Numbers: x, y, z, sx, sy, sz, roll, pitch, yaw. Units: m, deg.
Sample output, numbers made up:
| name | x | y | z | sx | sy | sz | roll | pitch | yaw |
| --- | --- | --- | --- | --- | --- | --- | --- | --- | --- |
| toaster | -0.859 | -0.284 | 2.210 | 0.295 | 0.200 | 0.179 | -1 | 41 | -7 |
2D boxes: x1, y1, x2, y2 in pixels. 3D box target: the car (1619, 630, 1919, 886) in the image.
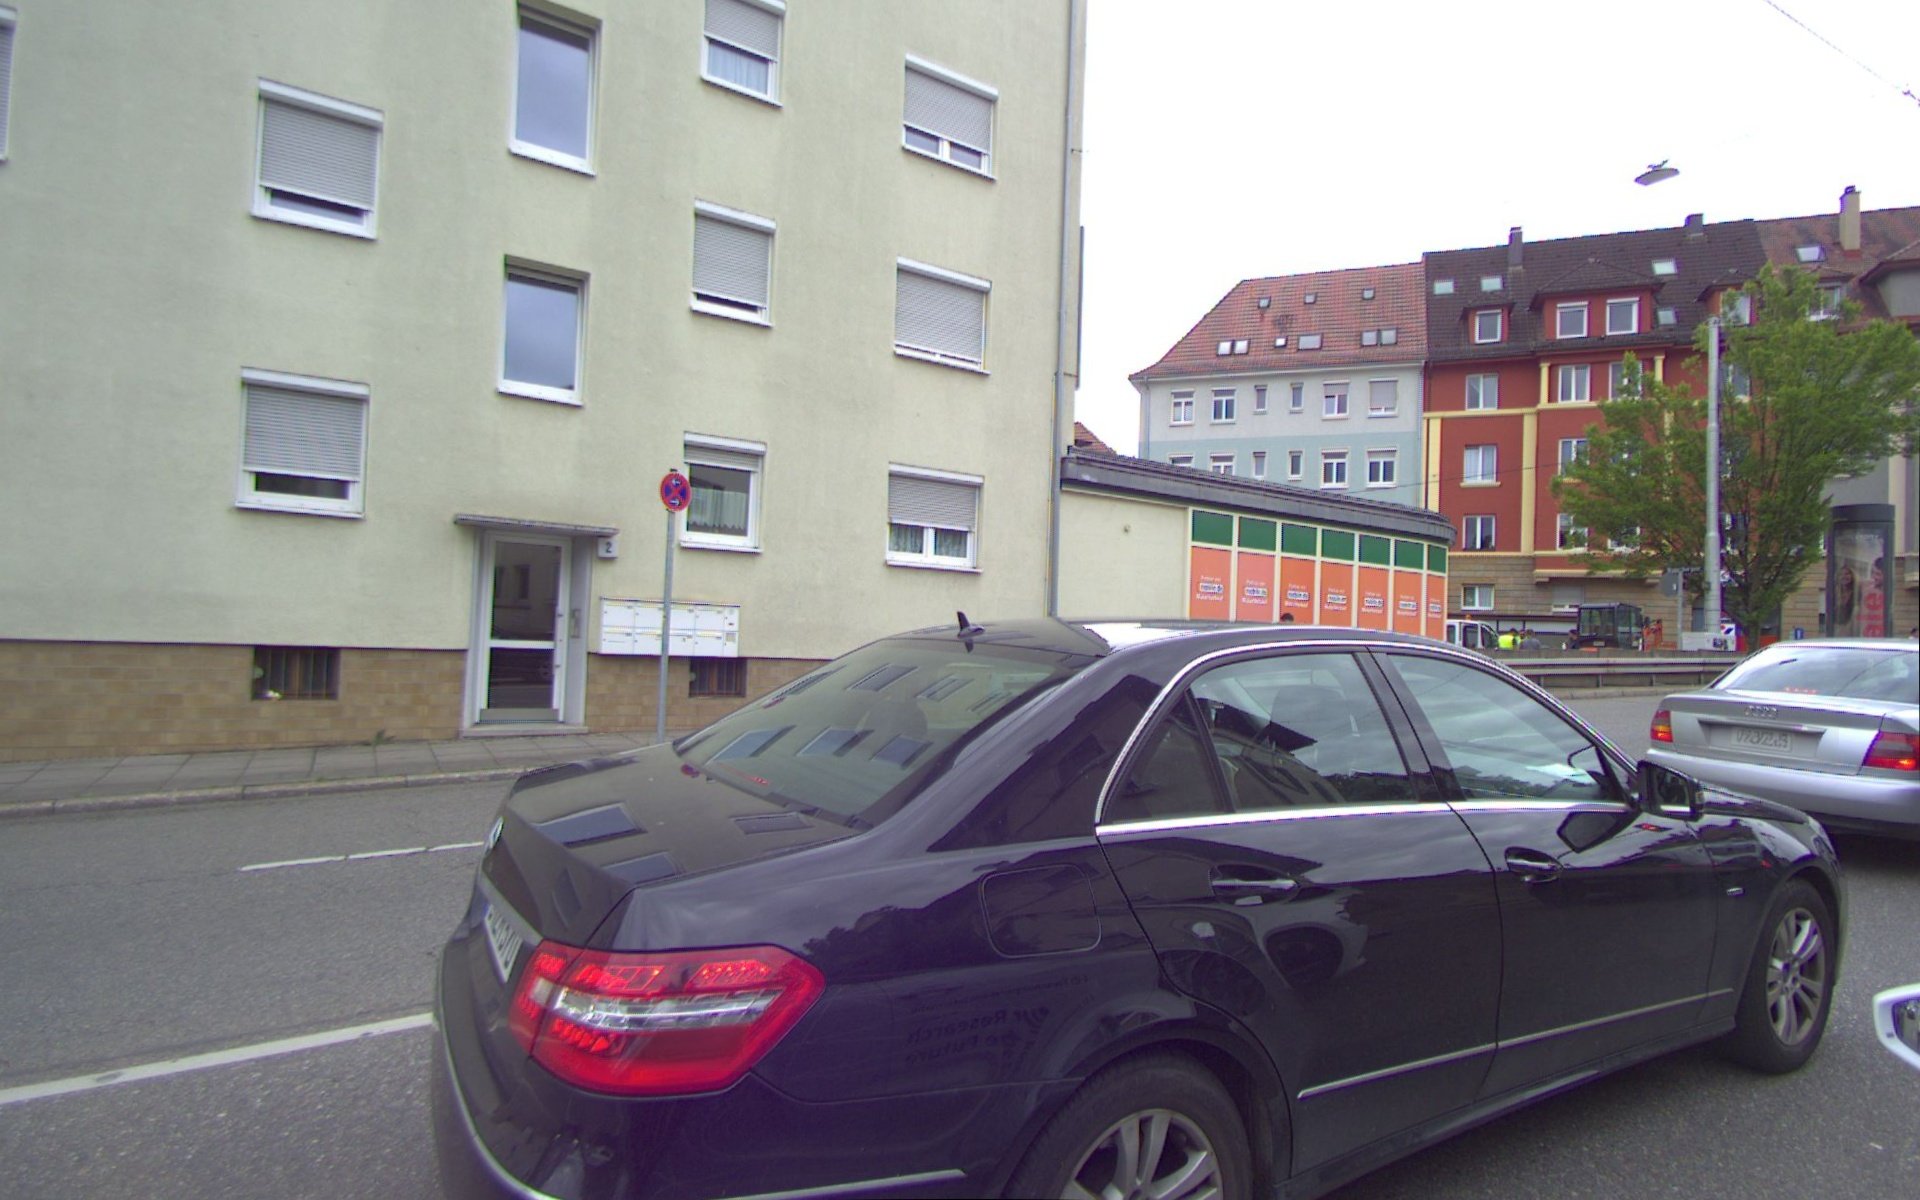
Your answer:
| name | x | y | z | sx | sy | sz | roll | pitch | yaw |
| --- | --- | --- | --- | --- | --- | --- | --- | --- | --- |
| car | 6.725 | 0.913 | 7.063 | 4.072 | 1.383 | 1.624 | 1 | -2 | -25 |

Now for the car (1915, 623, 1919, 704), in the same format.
| name | x | y | z | sx | sy | sz | roll | pitch | yaw |
| --- | --- | --- | --- | --- | --- | --- | --- | --- | --- |
| car | 20.106 | 1.229 | 19.159 | 3.412 | 1.537 | 1.593 | 1 | -2 | -25 |

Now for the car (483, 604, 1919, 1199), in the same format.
| name | x | y | z | sx | sy | sz | roll | pitch | yaw |
| --- | --- | --- | --- | --- | --- | --- | --- | --- | --- |
| car | 1.109 | 0.780 | 3.405 | 4.785 | 1.448 | 1.984 | 1 | 0 | -30 |

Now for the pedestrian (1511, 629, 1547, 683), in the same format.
| name | x | y | z | sx | sy | sz | roll | pitch | yaw |
| --- | --- | --- | --- | --- | --- | --- | --- | --- | --- |
| pedestrian | 14.771 | 1.447 | 26.072 | 0.613 | 1.381 | 0.602 | 0 | -1 | 4 |

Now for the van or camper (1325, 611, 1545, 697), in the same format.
| name | x | y | z | sx | sy | sz | roll | pitch | yaw |
| --- | --- | --- | --- | --- | --- | --- | --- | --- | --- |
| van or camper | 14.539 | 1.573 | 31.035 | 5.894 | 2.369 | 2.686 | 0 | -1 | 26 |

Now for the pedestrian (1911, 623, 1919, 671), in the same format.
| name | x | y | z | sx | sy | sz | roll | pitch | yaw |
| --- | --- | --- | --- | --- | --- | --- | --- | --- | --- |
| pedestrian | 27.687 | 1.337 | 28.648 | 0.572 | 1.356 | 0.576 | 1 | 0 | -1 |

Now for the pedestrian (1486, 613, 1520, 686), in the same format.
| name | x | y | z | sx | sy | sz | roll | pitch | yaw |
| --- | --- | --- | --- | --- | --- | --- | --- | --- | --- |
| pedestrian | 15.478 | 1.403 | 28.630 | 0.811 | 2.040 | 0.679 | 0 | 0 | 29 |

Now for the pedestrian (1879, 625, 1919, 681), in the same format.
| name | x | y | z | sx | sy | sz | roll | pitch | yaw |
| --- | --- | --- | --- | --- | --- | --- | --- | --- | --- |
| pedestrian | 26.798 | 1.481 | 28.477 | 0.724 | 1.567 | 0.794 | 0 | -1 | -3 |

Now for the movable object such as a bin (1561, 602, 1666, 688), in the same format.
| name | x | y | z | sx | sy | sz | roll | pitch | yaw |
| --- | --- | --- | --- | --- | --- | --- | --- | --- | --- |
| movable object such as a bin | 16.557 | 1.109 | 25.398 | 3.510 | 2.040 | 1.363 | 2 | -2 | -42 |

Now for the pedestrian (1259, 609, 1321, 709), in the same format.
| name | x | y | z | sx | sy | sz | roll | pitch | yaw |
| --- | --- | --- | --- | --- | --- | --- | --- | --- | --- |
| pedestrian | 5.671 | 0.998 | 17.280 | 0.771 | 1.659 | 0.683 | 1 | 0 | -35 |
